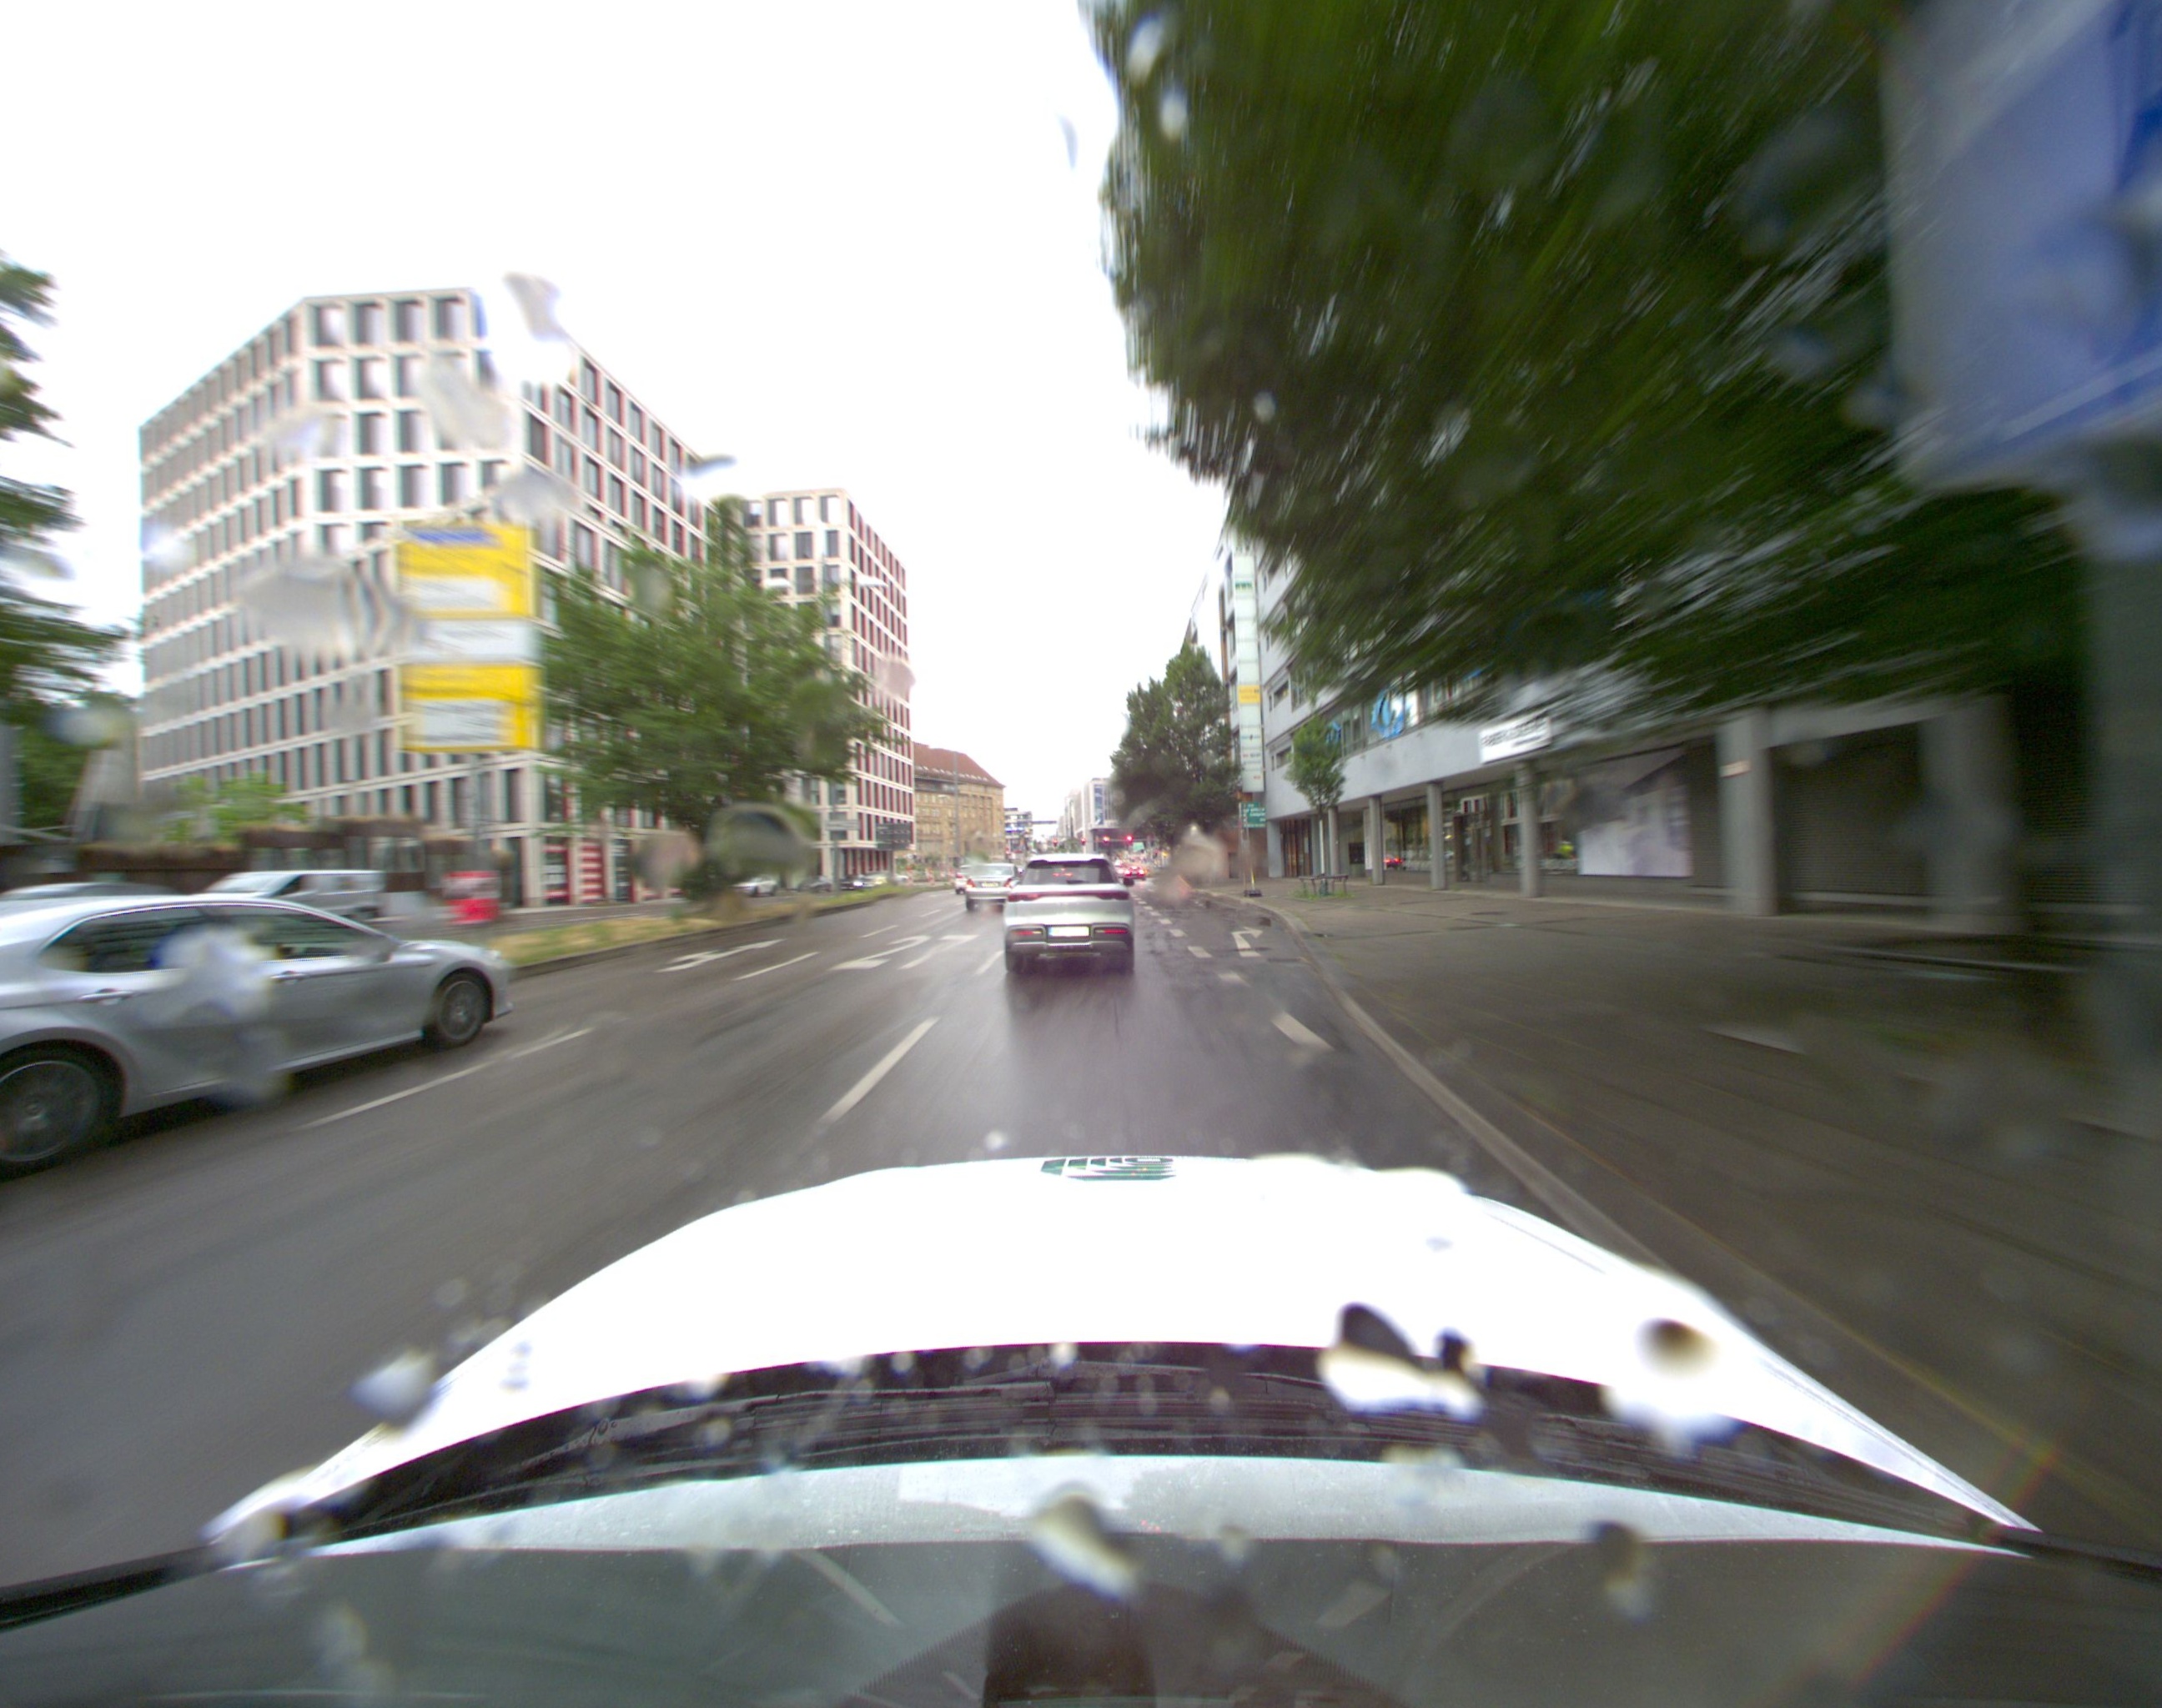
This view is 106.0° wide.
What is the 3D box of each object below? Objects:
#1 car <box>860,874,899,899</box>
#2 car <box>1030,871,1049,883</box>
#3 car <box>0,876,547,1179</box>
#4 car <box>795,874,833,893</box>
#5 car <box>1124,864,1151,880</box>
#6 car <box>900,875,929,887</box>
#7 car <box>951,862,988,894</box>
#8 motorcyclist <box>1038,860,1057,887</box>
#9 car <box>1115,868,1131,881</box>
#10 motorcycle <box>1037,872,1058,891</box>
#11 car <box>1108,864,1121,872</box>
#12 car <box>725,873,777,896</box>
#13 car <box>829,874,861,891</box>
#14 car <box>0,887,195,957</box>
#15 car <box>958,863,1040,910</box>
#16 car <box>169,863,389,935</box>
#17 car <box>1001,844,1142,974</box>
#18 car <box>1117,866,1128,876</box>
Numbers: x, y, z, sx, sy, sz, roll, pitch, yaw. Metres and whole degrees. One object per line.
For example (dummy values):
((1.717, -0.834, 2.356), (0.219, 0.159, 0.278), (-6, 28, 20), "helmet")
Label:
((-14.414, 2.317, 58.427), (1.821, 1.632, 4.868), (-1, -2, -3), "car")
((-4.961, 2.778, 97.556), (1.775, 1.373, 3.996), (-1, -2, 3), "car")
((-6.275, 0.932, 5.607), (1.823, 1.521, 4.804), (-1, -2, 3), "car")
((-22.407, 2.438, 68.360), (1.691, 1.424, 3.957), (-3, -1, 2), "car")
((5.775, 1.826, 82.652), (1.876, 1.544, 4.011), (-2, -2, 17), "car")
((-26.041, 4.226, 127.588), (4.387, 1.662, 1.990), (-1, -2, -15), "car")
((-6.040, 1.317, 44.461), (1.729, 1.616, 3.993), (-1, -2, -4), "car")
((-1.883, 1.105, 45.937), (0.937, 1.476, 1.101), (-1, -2, 3), "motorcyclist")
((5.238, 2.532, 100.622), (1.775, 1.402, 4.492), (-1, 0, 5), "car")
((-1.855, 1.529, 45.914), (0.938, 0.989, 2.296), (-1, -1, 4), "motorcycle")
((7.977, 3.256, 195.012), (1.999, 1.816, 3.975), (0, -2, -18), "car")
((-22.983, 2.081, 56.900), (1.691, 1.424, 4.375), (-3, -1, 2), "car")
((-22.422, 2.689, 77.472), (1.691, 1.424, 3.957), (-3, -1, 2), "car")
((-24.974, 1.611, 19.930), (1.791, 1.529, 4.287), (-1, -2, 2), "car")
((-2.579, 1.041, 26.608), (1.724, 1.404, 4.390), (-1, -2, 6), "car")
((-25.055, 1.357, 25.779), (1.986, 2.014, 4.916), (-1, -2, 1), "car")
((-0.133, 0.773, 12.687), (1.802, 1.661, 4.169), (-1, -2, 0), "car")
((8.626, 3.449, 168.157), (1.988, 2.014, 3.997), (-1, -2, -1), "car")
